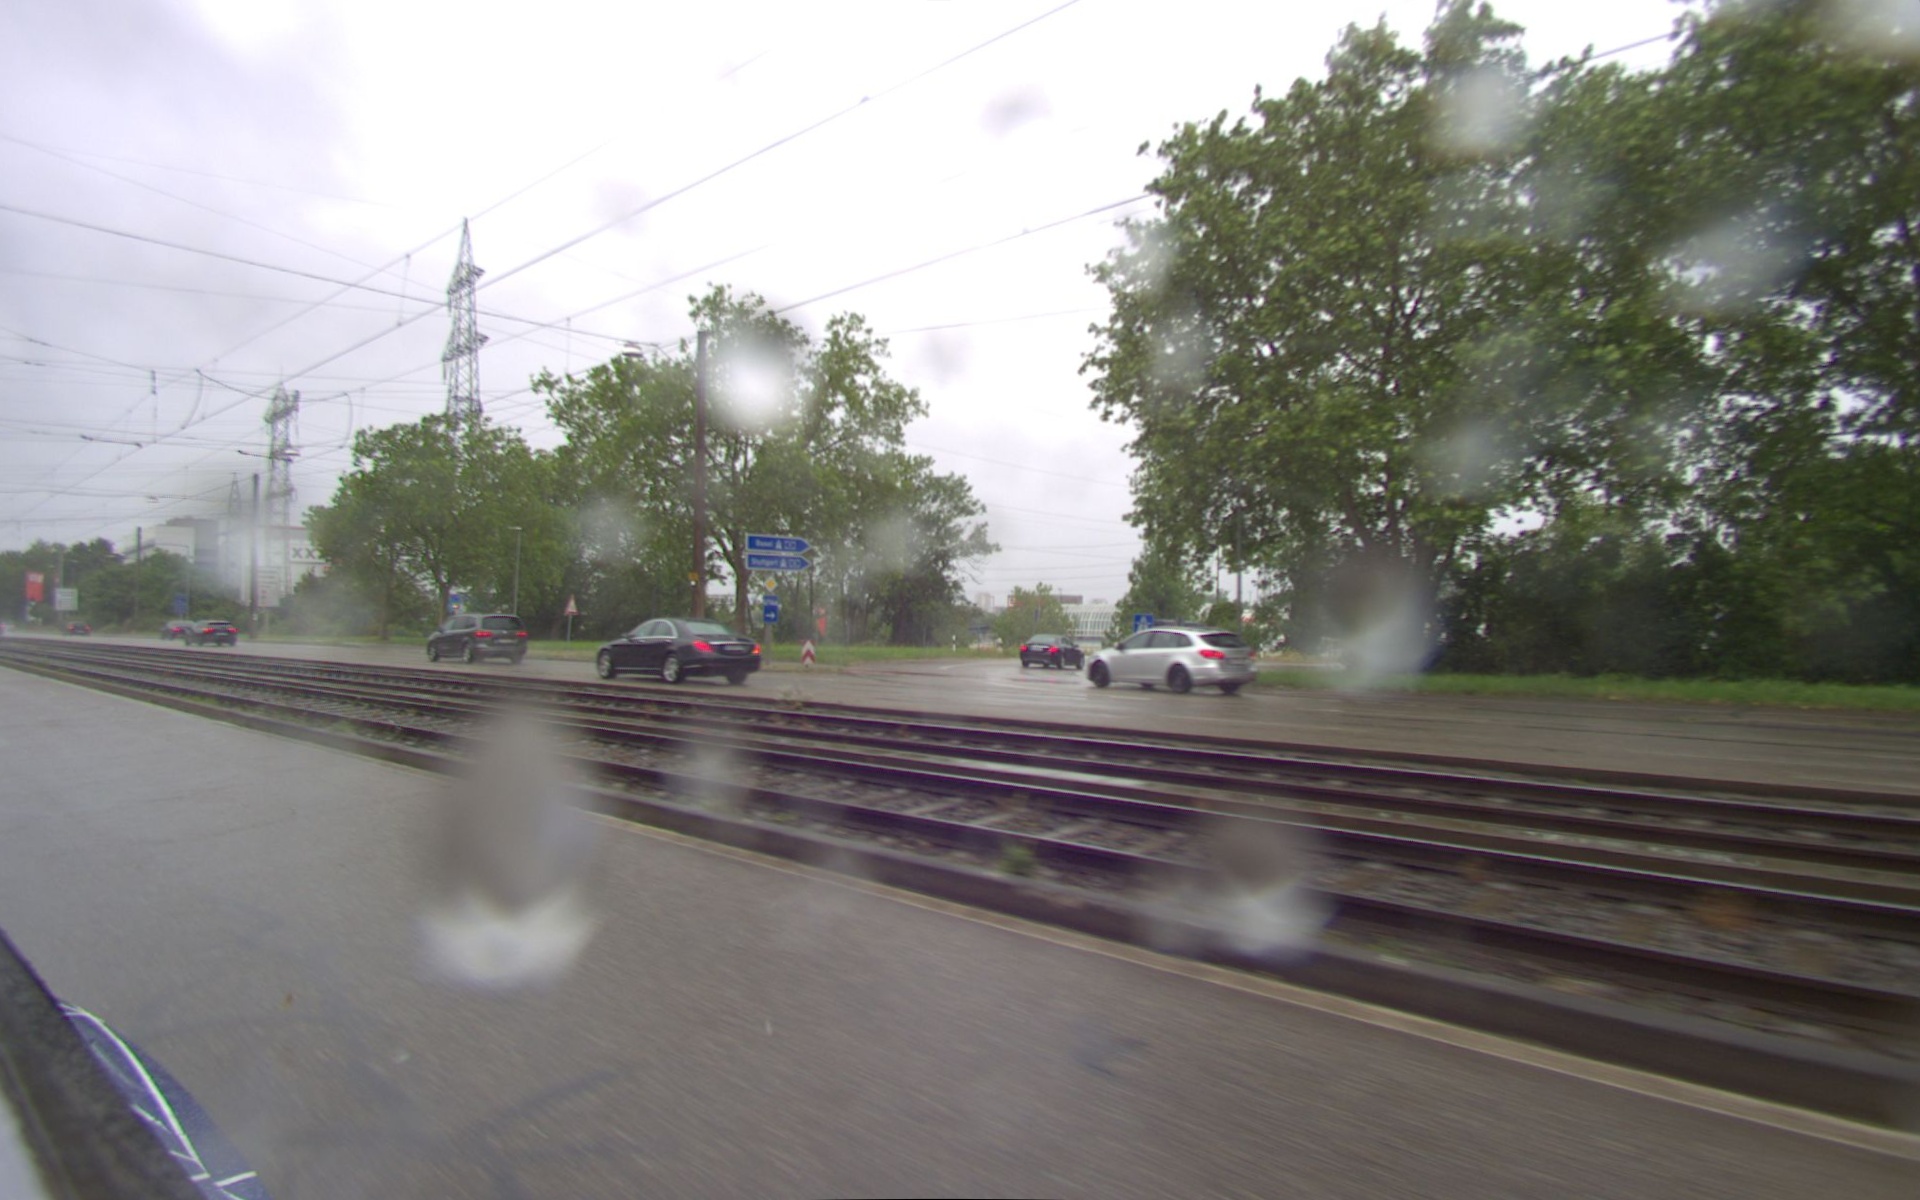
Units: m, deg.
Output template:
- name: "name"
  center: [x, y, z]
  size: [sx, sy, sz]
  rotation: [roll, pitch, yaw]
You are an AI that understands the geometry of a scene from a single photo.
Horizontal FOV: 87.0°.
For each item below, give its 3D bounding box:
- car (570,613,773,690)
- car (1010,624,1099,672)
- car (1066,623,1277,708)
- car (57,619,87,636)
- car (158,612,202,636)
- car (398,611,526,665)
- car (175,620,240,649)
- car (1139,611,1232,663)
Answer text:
- name: "car"
  center: [-6.913, 1.182, 23.829]
  size: [5.678, 1.597, 1.757]
  rotation: [-2, -1, 41]
- name: "car"
  center: [4.099, 2.003, 43.238]
  size: [2.080, 1.812, 4.717]
  rotation: [-2, -1, 29]
- name: "car"
  center: [4.808, 1.455, 23.831]
  size: [1.795, 1.719, 5.034]
  rotation: [-1, -1, -33]
- name: "car"
  center: [-88.210, 2.773, 100.558]
  size: [3.997, 1.564, 1.671]
  rotation: [-2, -1, 40]
- name: "car"
  center: [-59.306, 1.859, 76.905]
  size: [4.648, 1.699, 1.822]
  rotation: [-2, -1, 42]
- name: "car"
  center: [-17.550, 1.331, 35.469]
  size: [6.101, 1.719, 1.800]
  rotation: [-2, -1, 41]
- name: "car"
  center: [-43.386, 1.986, 58.286]
  size: [5.307, 1.561, 1.773]
  rotation: [-2, -1, 39]
- name: "car"
  center: [11.549, 1.835, 51.467]
  size: [2.336, 2.444, 5.775]
  rotation: [-2, -1, 38]
